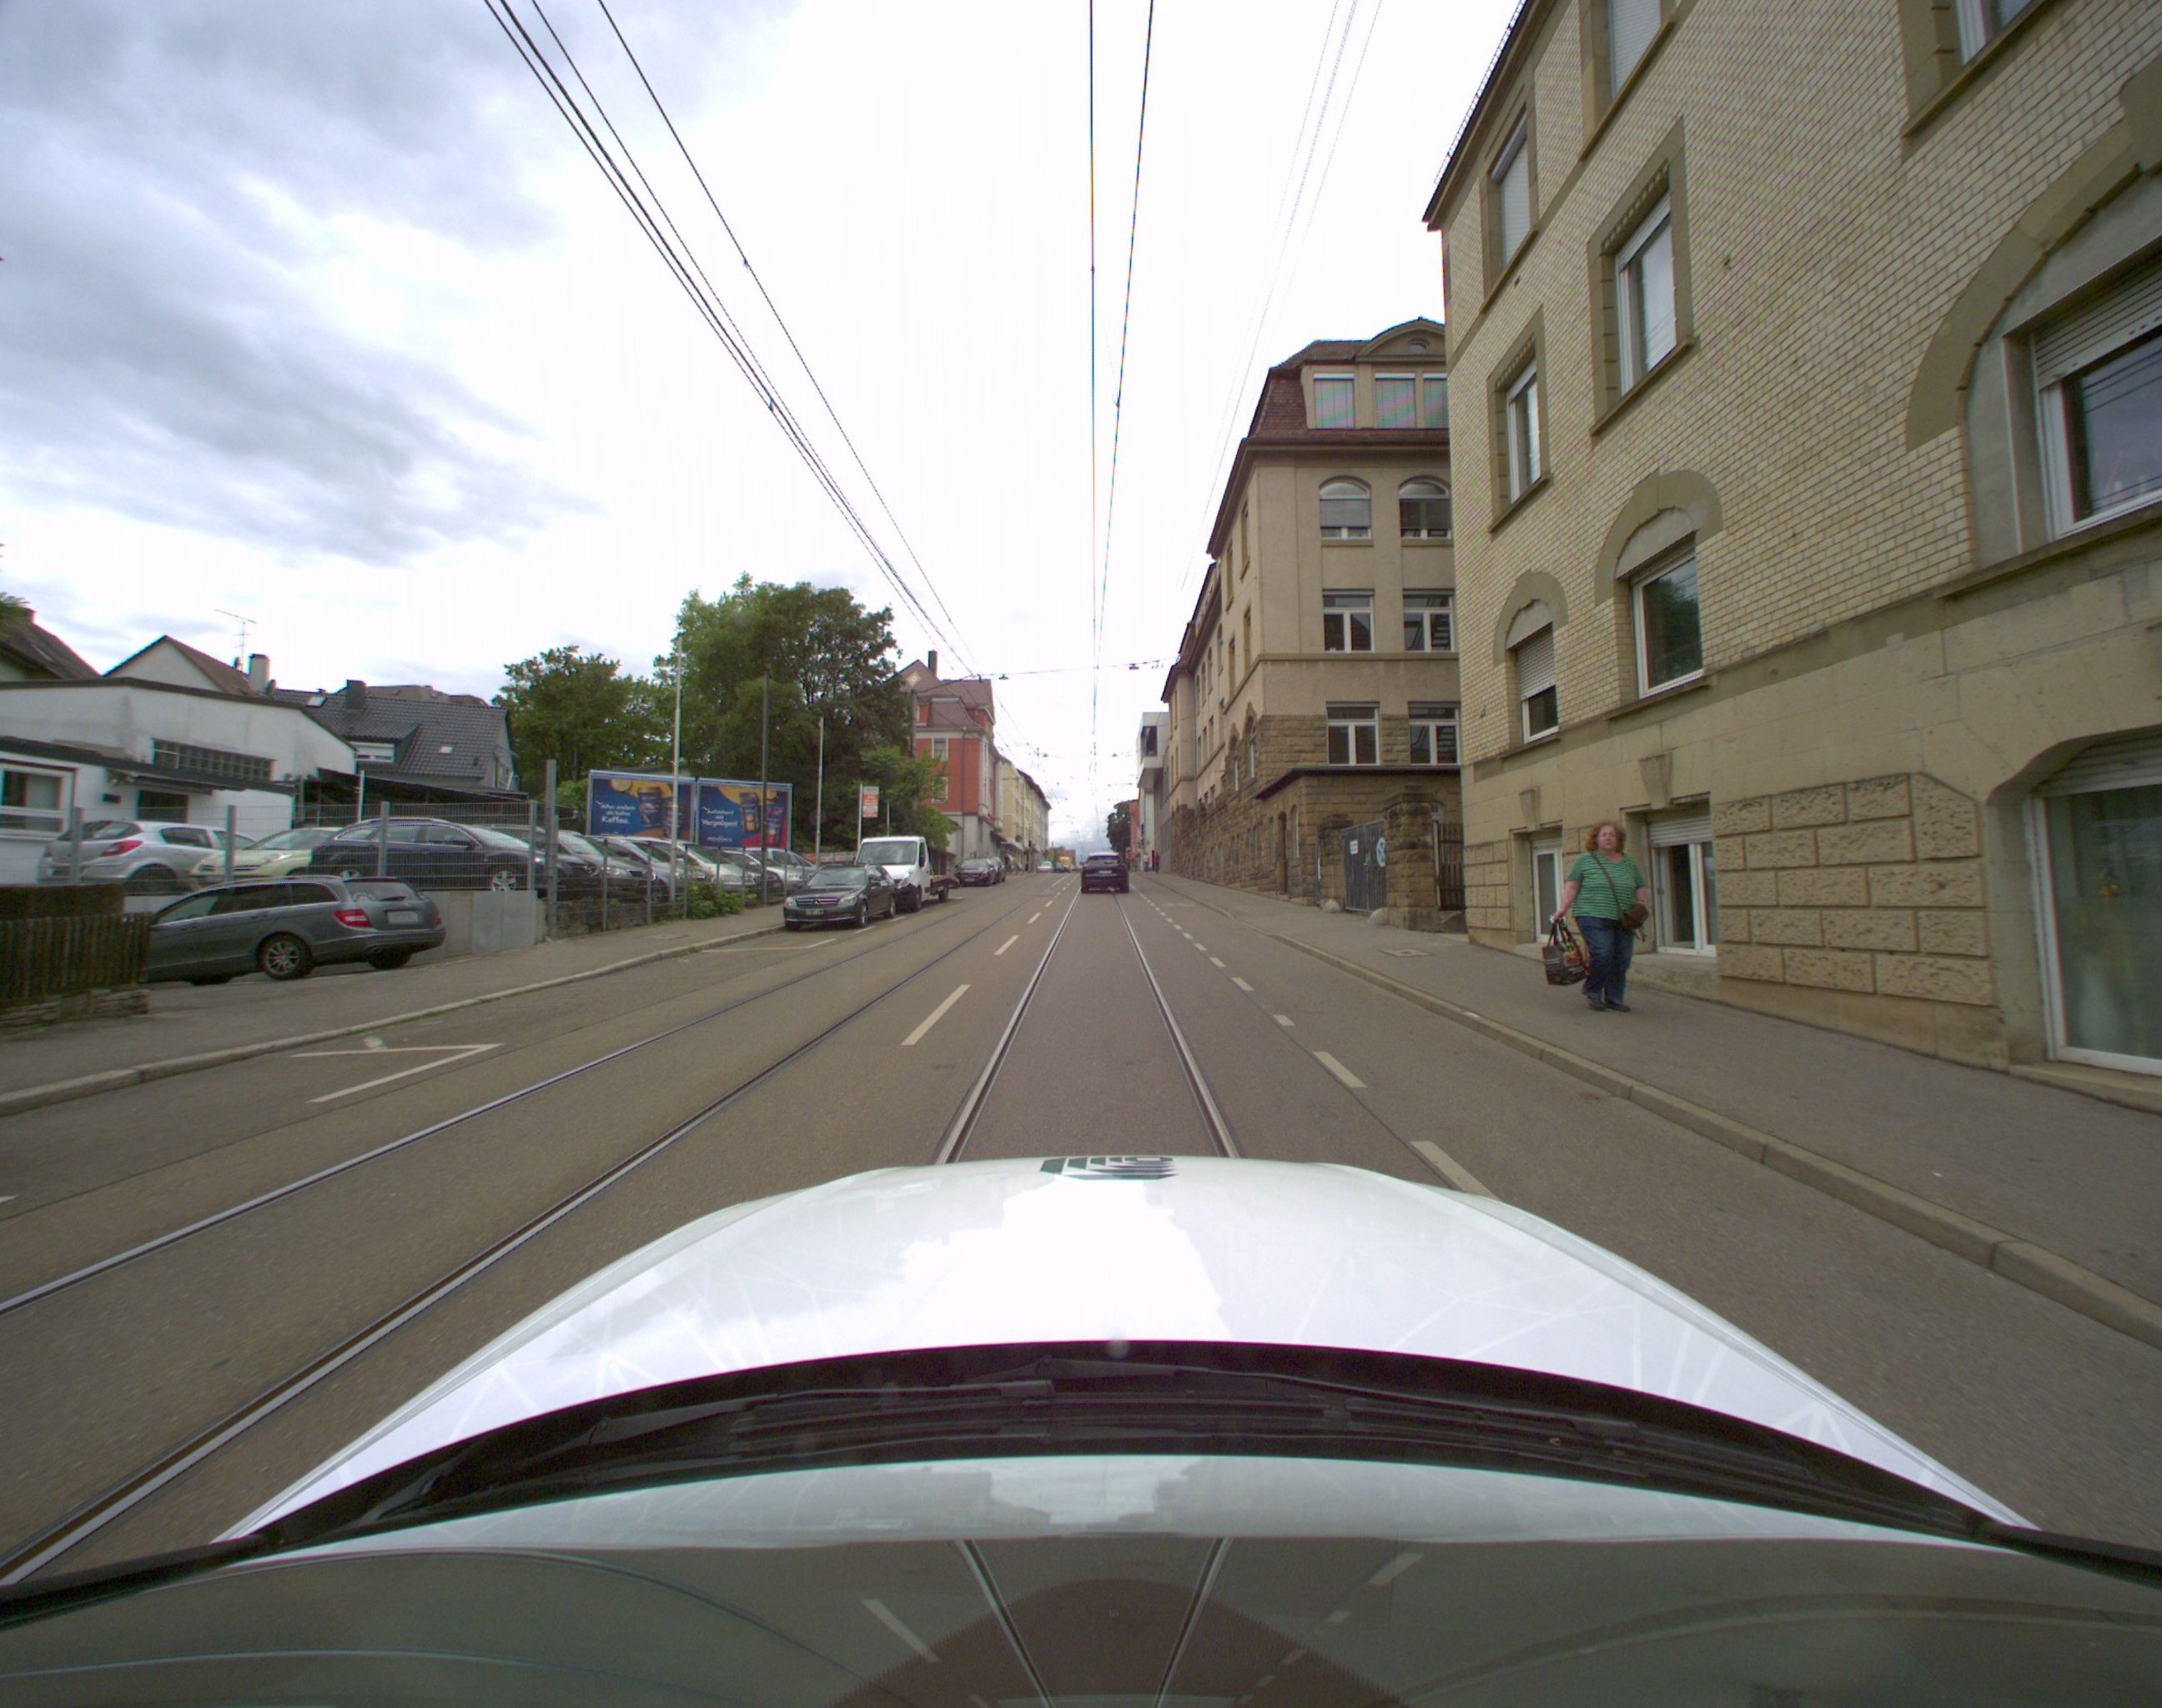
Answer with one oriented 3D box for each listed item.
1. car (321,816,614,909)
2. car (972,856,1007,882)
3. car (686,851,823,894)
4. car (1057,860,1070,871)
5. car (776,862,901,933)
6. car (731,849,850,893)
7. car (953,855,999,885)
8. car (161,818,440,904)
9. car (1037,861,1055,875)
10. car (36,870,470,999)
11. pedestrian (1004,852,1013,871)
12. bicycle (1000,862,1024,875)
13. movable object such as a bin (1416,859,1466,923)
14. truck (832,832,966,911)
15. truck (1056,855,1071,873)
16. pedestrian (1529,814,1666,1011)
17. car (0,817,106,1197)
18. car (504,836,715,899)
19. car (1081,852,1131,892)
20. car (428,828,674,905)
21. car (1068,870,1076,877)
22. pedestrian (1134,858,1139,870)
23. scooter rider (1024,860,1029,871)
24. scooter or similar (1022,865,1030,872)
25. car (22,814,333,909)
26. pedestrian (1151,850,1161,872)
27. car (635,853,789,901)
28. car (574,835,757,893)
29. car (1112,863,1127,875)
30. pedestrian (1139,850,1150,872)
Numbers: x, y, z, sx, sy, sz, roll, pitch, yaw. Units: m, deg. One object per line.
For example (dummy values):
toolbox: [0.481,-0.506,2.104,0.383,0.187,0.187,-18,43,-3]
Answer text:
car: [-11.146,0.152,15.003,4.047,1.552,1.688,1,0,0]
car: [-5.260,0.838,47.168,1.510,1.446,3.711,0,0,2]
car: [-10.826,0.605,27.183,3.863,1.357,1.688,0,0,0]
car: [-2.752,1.800,127.505,1.848,1.607,4.297,0,0,1]
car: [-5.745,0.965,19.869,1.692,1.433,4.480,-3,0,0]
car: [-10.561,0.594,29.870,3.965,1.551,1.680,0,0,-14]
car: [-5.323,0.794,41.721,1.706,1.446,4.291,0,0,2]
car: [-15.158,0.130,16.161,1.676,1.494,3.891,0,0,2]
car: [-4.076,1.627,94.874,1.848,1.607,4.297,0,0,1]
car: [-11.862,1.100,11.906,4.324,1.345,1.861,-5,0,0]
pedestrian: [-6.655,0.679,75.029,0.772,1.776,0.650,0,-1,2]
bicycle: [-5.515,1.146,65.211,1.904,1.000,0.479,0,0,1]
movable object such as a bin: [6.976,0.701,15.796,0.691,1.218,0.606,0,0,1]
truck: [-5.619,0.498,26.619,2.271,2.188,8.029,0,0,2]
truck: [-3.153,1.775,147.642,2.294,3.037,9.034,0,-1,1]
pedestrian: [4.652,0.512,7.400,0.863,1.686,0.666,-3,-1,19]
car: [-5.913,0.729,1.872,1.737,1.736,4.522,-3,0,3]
car: [-11.238,0.314,19.599,4.047,1.445,1.688,0,0,0]
car: [1.055,0.728,34.634,1.986,1.563,4.291,0,0,1]
car: [-11.127,0.252,17.302,4.047,1.524,1.739,0,0,0]
car: [-2.018,4.322,182.441,1.848,1.607,4.297,0,0,1]
pedestrian: [7.761,1.438,113.880,0.788,1.667,0.799,0,0,3]
scooter rider: [-7.345,1.547,110.024,0.646,1.585,0.765,0,0,-3]
scooter or similar: [-7.402,1.932,110.008,1.025,0.919,0.472,0,0,-4]
car: [-17.328,0.137,15.953,1.676,1.613,3.891,0,0,2]
pedestrian: [5.796,0.515,62.917,0.788,1.667,0.799,0,0,3]
car: [-11.071,0.678,24.590,3.863,1.357,1.688,0,0,0]
car: [-11.155,0.267,22.045,4.047,1.494,1.688,0,0,0]
car: [5.261,2.083,112.729,1.986,1.563,4.291,0,0,1]
pedestrian: [4.913,0.563,62.987,0.788,1.667,0.799,0,0,3]
